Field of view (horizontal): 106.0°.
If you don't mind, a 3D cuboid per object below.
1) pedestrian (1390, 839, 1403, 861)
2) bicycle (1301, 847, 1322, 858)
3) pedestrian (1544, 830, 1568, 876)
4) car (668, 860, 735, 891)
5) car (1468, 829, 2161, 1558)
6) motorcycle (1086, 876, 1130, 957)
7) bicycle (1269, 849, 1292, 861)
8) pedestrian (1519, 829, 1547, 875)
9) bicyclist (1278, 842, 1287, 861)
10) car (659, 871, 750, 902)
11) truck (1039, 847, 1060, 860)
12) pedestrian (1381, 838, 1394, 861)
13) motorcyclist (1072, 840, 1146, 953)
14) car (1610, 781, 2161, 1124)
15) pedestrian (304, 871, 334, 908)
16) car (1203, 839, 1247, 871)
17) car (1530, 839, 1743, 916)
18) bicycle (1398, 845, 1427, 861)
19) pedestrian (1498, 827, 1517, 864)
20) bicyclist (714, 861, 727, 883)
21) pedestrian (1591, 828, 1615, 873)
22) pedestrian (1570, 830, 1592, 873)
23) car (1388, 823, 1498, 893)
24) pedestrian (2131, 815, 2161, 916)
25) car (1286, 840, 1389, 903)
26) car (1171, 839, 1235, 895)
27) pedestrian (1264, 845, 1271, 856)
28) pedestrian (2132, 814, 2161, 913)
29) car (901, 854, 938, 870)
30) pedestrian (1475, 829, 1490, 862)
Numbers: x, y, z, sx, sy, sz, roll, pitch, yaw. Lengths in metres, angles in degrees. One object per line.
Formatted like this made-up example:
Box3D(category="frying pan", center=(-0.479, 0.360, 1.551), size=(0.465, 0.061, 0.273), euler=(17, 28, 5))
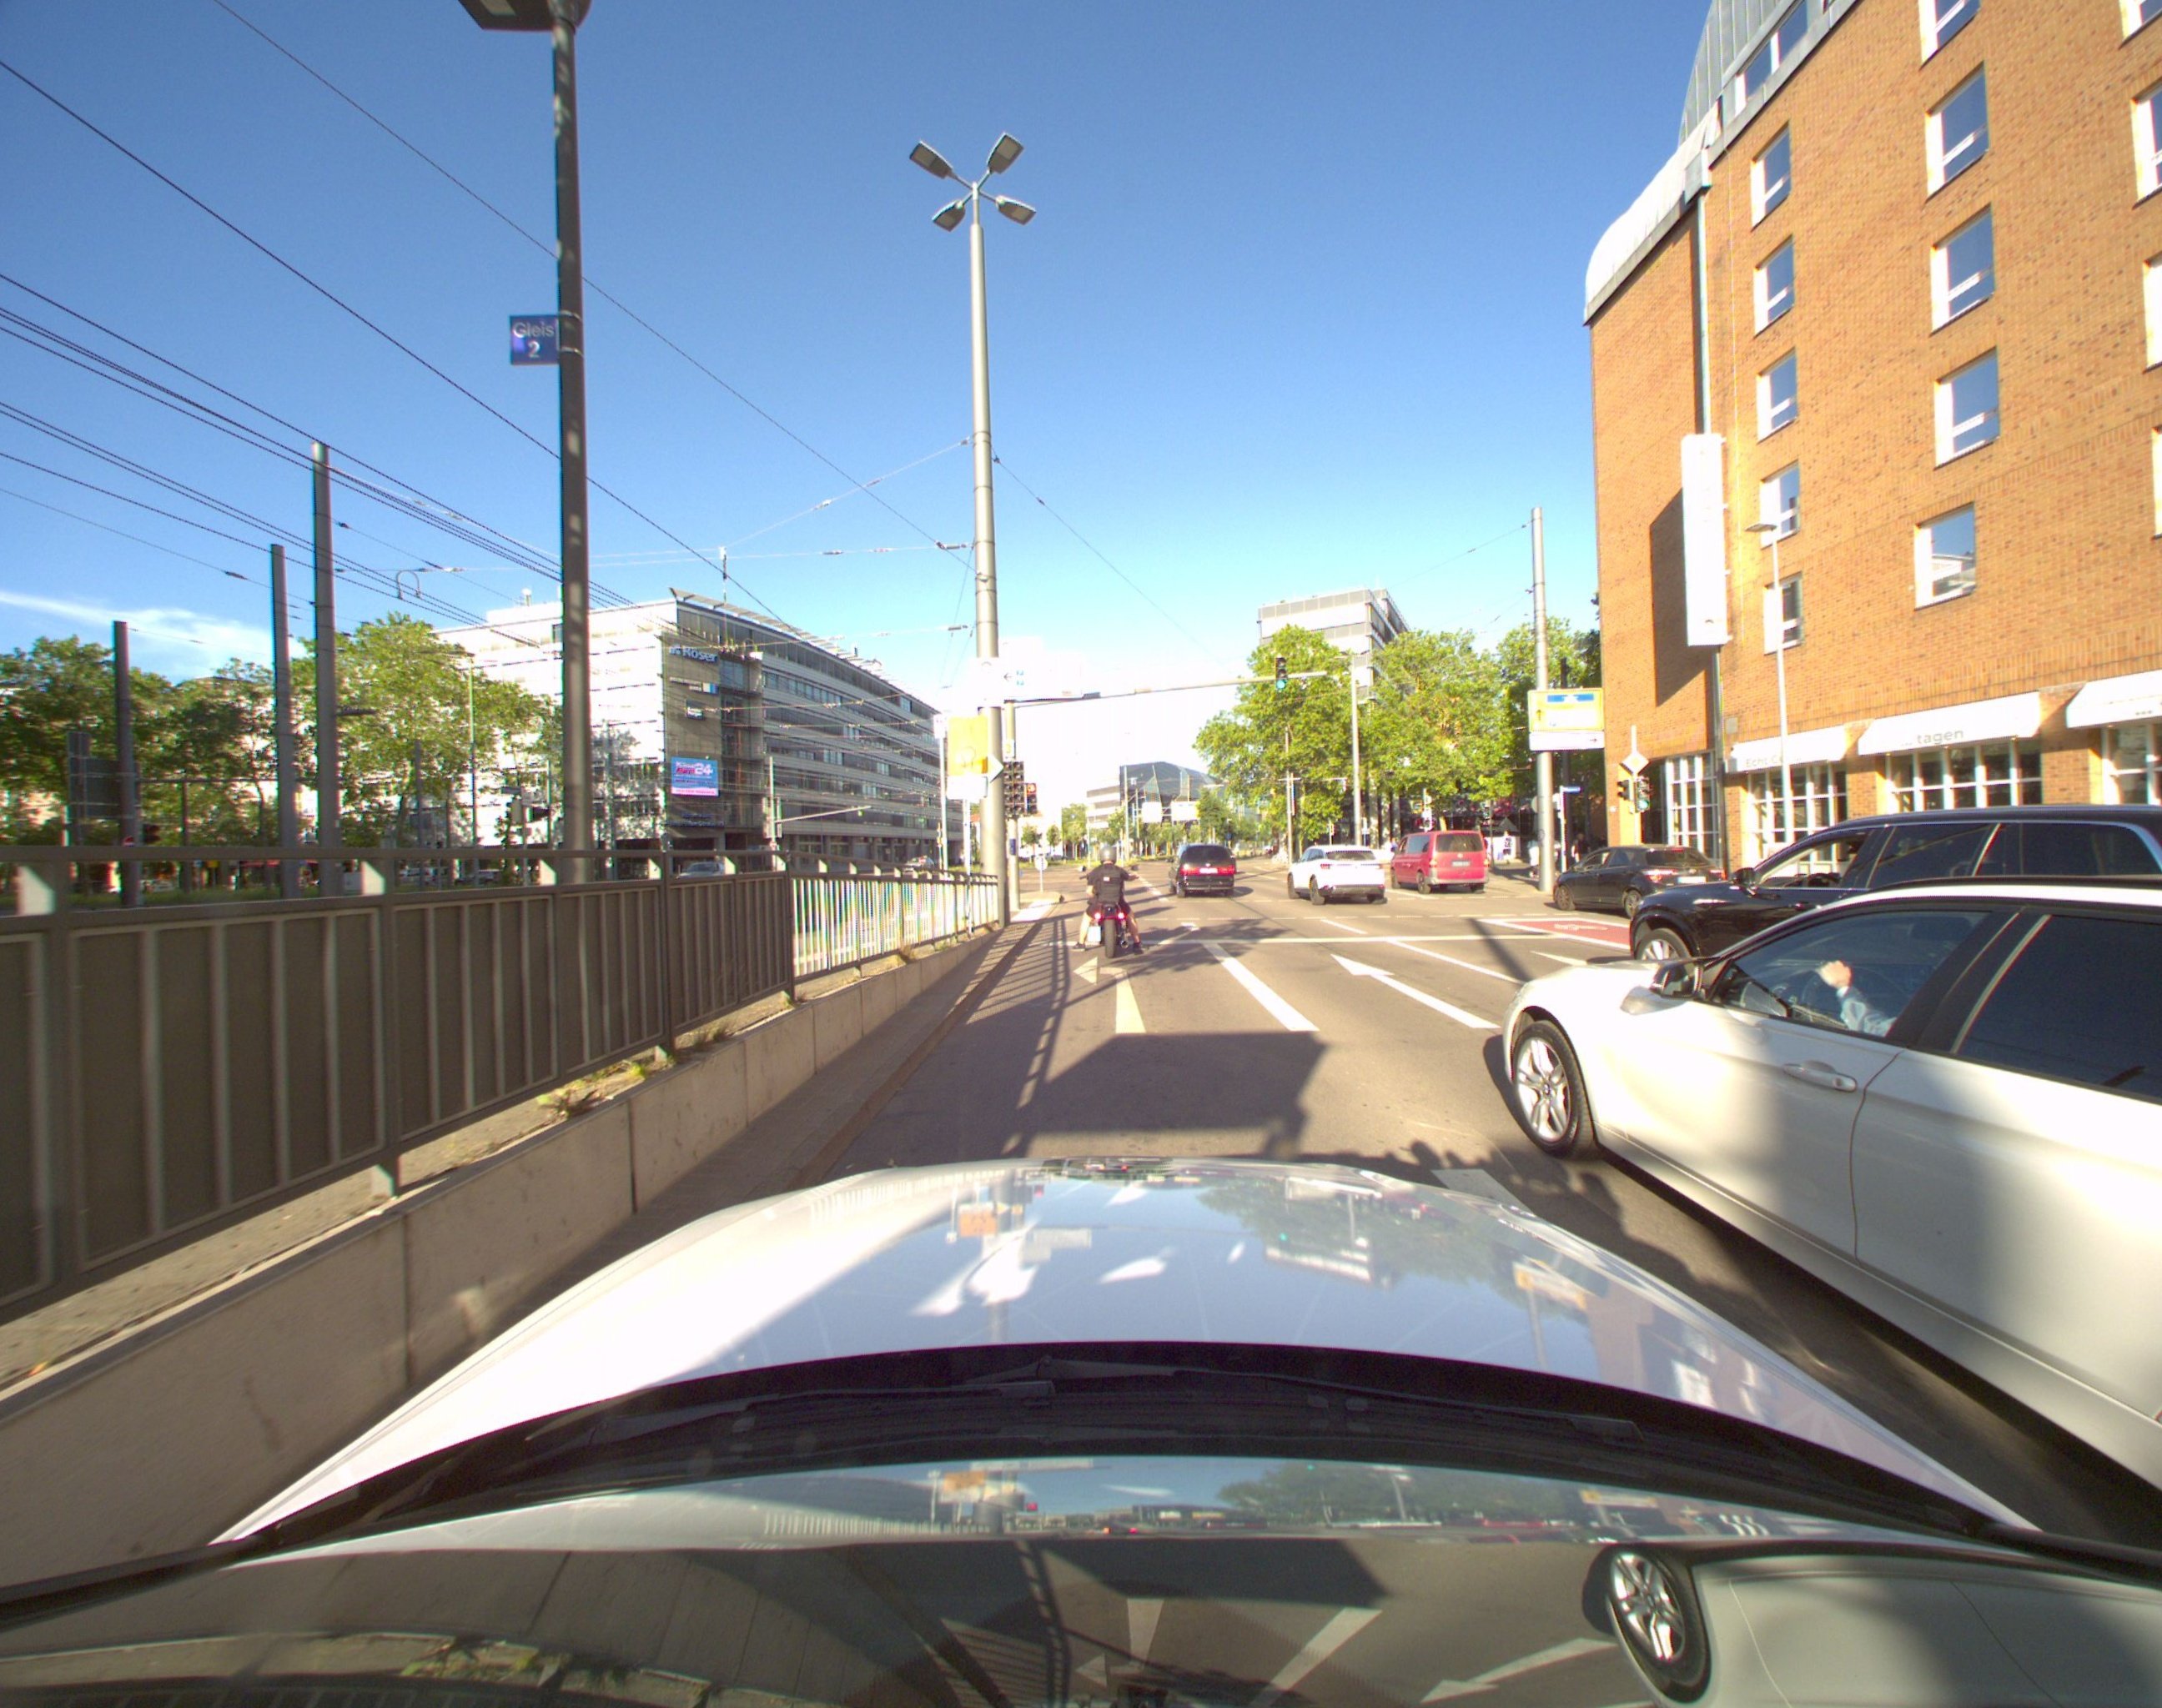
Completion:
Box3D(category="pedestrian", center=(21.364, -0.255, 55.148), size=(0.566, 1.479, 0.699), euler=(0, -1, -12))
Box3D(category="bicycle", center=(21.775, -0.167, 76.881), size=(1.874, 1.046, 0.360), euler=(0, 0, 1))
Box3D(category="pedestrian", center=(18.874, -0.045, 32.349), size=(0.588, 1.780, 0.684), euler=(-3, -1, 13))
Box3D(category="car", center=(-21.093, 1.156, 45.465), size=(1.821, 1.568, 4.237), euler=(-2, 0, -2))
Box3D(category="car", center=(3.047, 0.679, 2.499), size=(1.725, 1.457, 4.419), euler=(0, 0, 2))
Box3D(category="motorcycle", center=(0.411, 0.888, 12.372), size=(0.598, 1.036, 2.235), euler=(0, 0, 2))
Box3D(category="bicycle", center=(17.567, 0.084, 71.710), size=(1.854, 1.044, 0.540), euler=(-1, -1, 20))
Box3D(category="pedestrian", center=(18.179, -0.069, 32.734), size=(0.591, 1.780, 0.681), euler=(-5, -1, -1))
Box3D(category="bicyclist", center=(17.735, -0.236, 71.581), size=(0.682, 1.673, 0.544), euler=(-2, -1, 21))
Box3D(category="car", center=(-13.670, 1.162, 29.717), size=(2.884, 1.063, 1.235), euler=(0, -1, -19))
Box3D(category="truck", center=(-5.015, -0.034, 128.693), size=(1.980, 1.879, 5.173), euler=(-4, -1, 12))
Box3D(category="pedestrian", center=(20.719, -0.278, 55.049), size=(0.564, 1.532, 0.702), euler=(0, -1, -2))
Box3D(category="motorcyclist", center=(0.415, 0.613, 12.148), size=(1.027, 1.593, 0.874), euler=(-2, 0, 1))
Box3D(category="car", center=(6.264, 0.508, 5.907), size=(1.727, 1.732, 4.607), euler=(0, -1, -2))
Box3D(category="pedestrian", center=(-35.352, 1.649, 37.782), size=(0.587, 1.691, 0.795), euler=(0, -1, 2))
Box3D(category="car", center=(7.847, 0.079, 44.742), size=(1.797, 1.678, 4.041), euler=(0, -1, 1))
Box3D(category="car", center=(11.702, 0.469, 17.537), size=(1.727, 1.450, 4.037), euler=(0, -1, -2))
Box3D(category="bicycle", center=(25.603, -0.092, 62.936), size=(2.034, 1.214, 0.421), euler=(0, -1, 2))
Box3D(category="pedestrian", center=(22.300, -0.428, 42.631), size=(0.783, 1.898, 0.821), euler=(-1, -1, 21))
Box3D(category="bicyclist", center=(-24.896, 1.220, 56.174), size=(0.584, 1.534, 0.650), euler=(0, -1, 2))
Box3D(category="pedestrian", center=(21.047, -0.144, 32.863), size=(0.727, 1.792, 0.515), euler=(-1, -1, 42))
Box3D(category="pedestrian", center=(20.369, -0.093, 33.204), size=(0.619, 1.729, 0.633), euler=(-1, -1, 18))
Box3D(category="car", center=(11.645, 0.130, 26.543), size=(1.795, 2.009, 4.478), euler=(-2, -1, 4))
Box3D(category="pedestrian", center=(15.723, 0.153, 11.636), size=(0.590, 1.452, 0.601), euler=(-2, -1, 2))
Box3D(category="car", center=(7.061, 0.472, 22.824), size=(1.725, 1.598, 4.043), euler=(0, -1, 2))
Box3D(category="car", center=(3.892, 0.413, 26.554), size=(1.795, 1.678, 4.046), euler=(0, -1, 5))
Box3D(category="pedestrian", center=(22.256, -0.363, 97.148), size=(0.814, 1.314, 0.640), euler=(-1, -1, 11))
Box3D(category="pedestrian", center=(16.410, 0.125, 12.180), size=(0.590, 1.476, 0.552), euler=(-2, -1, 2))
Box3D(category="car", center=(-16.117, 0.780, 81.549), size=(1.813, 1.568, 4.710), euler=(-3, 0, 12))
Box3D(category="pedestrian", center=(21.312, -0.453, 43.238), size=(0.634, 1.700, 0.727), euler=(-1, -1, 21))
